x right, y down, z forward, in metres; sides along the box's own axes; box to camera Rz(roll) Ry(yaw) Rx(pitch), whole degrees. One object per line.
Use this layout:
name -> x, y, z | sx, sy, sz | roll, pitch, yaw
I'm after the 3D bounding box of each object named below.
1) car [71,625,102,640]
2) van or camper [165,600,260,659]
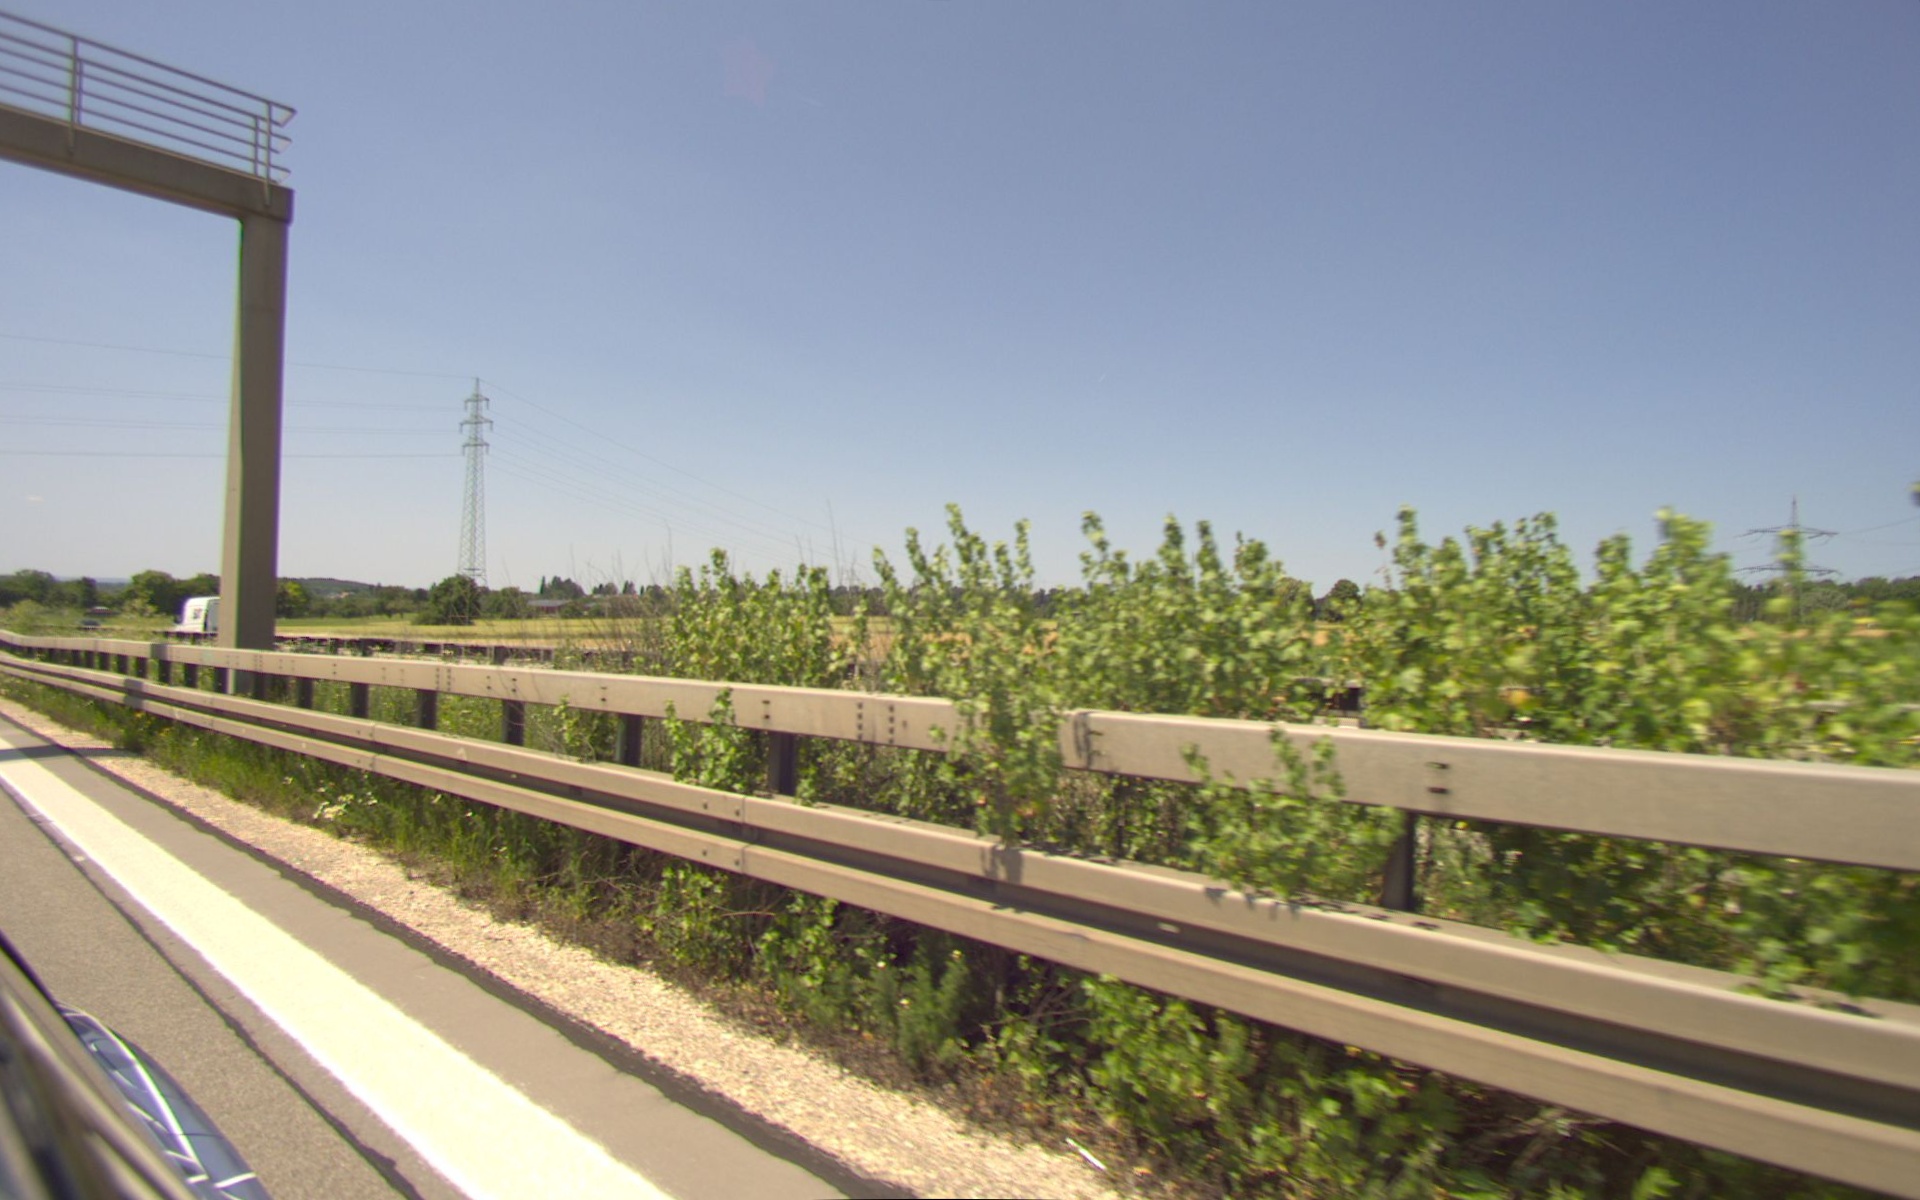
car -> -78.940, 2.939, 91.461 | 4.040, 1.316, 1.557 | -1, -2, 41
van or camper -> -34.663, 1.307, 46.868 | 6.594, 2.527, 2.204 | -1, 0, 41
